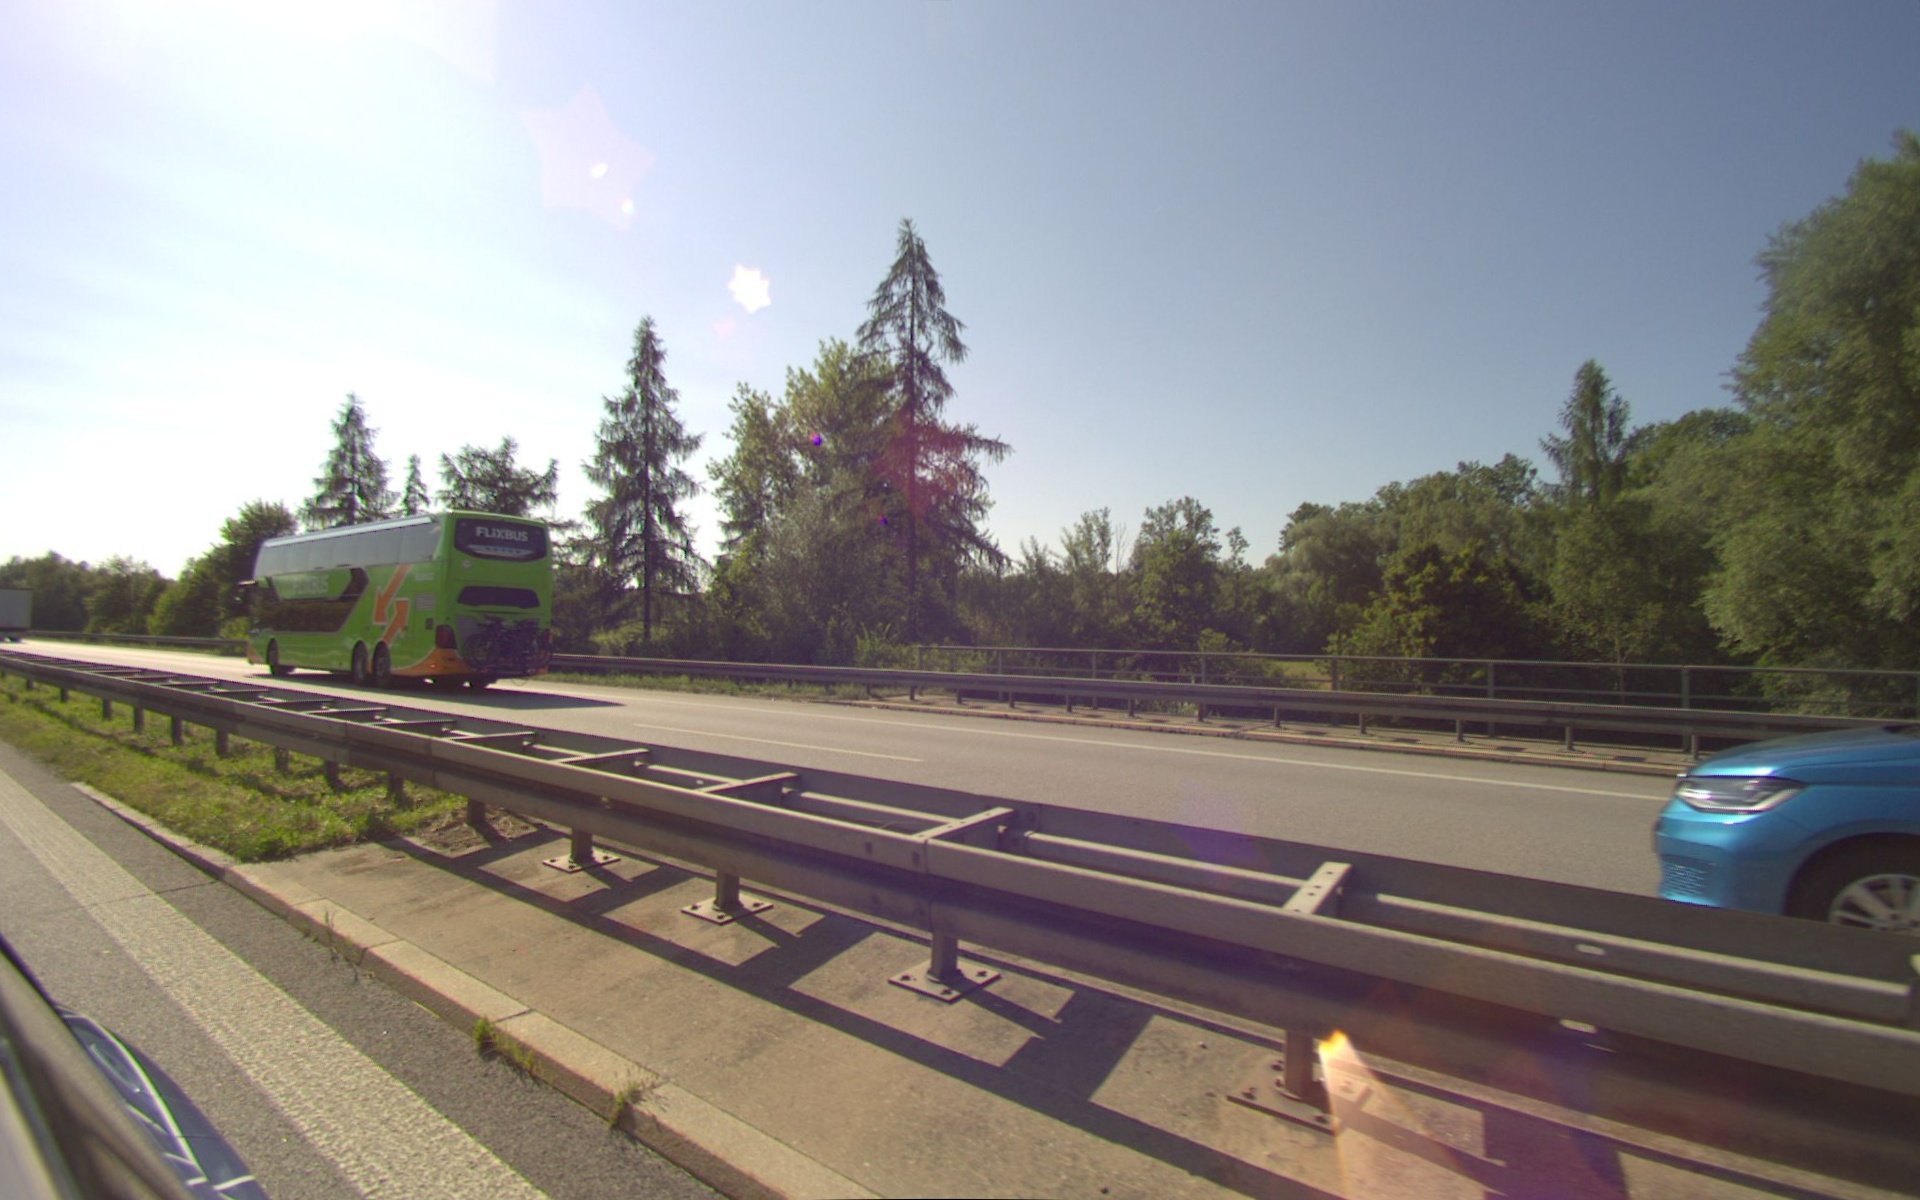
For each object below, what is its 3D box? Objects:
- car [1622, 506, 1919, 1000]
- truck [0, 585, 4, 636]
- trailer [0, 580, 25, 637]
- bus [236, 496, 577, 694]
[{"bbox_3d":[5.364,0.582,3.451,5.009,1.863,1.736,-1,-3,41],"label":"car"},{"bbox_3d":[-78.836,0.839,80.935,7.187,4.039,2.617,-1,-2,40],"label":"truck"},{"bbox_3d":[-74.370,0.678,77.183,14.075,4.039,2.634,-1,-2,40],"label":"trailer"},{"bbox_3d":[-15.276,0.014,26.822,14.659,4.085,2.906,-1,-2,41],"label":"bus"}]
